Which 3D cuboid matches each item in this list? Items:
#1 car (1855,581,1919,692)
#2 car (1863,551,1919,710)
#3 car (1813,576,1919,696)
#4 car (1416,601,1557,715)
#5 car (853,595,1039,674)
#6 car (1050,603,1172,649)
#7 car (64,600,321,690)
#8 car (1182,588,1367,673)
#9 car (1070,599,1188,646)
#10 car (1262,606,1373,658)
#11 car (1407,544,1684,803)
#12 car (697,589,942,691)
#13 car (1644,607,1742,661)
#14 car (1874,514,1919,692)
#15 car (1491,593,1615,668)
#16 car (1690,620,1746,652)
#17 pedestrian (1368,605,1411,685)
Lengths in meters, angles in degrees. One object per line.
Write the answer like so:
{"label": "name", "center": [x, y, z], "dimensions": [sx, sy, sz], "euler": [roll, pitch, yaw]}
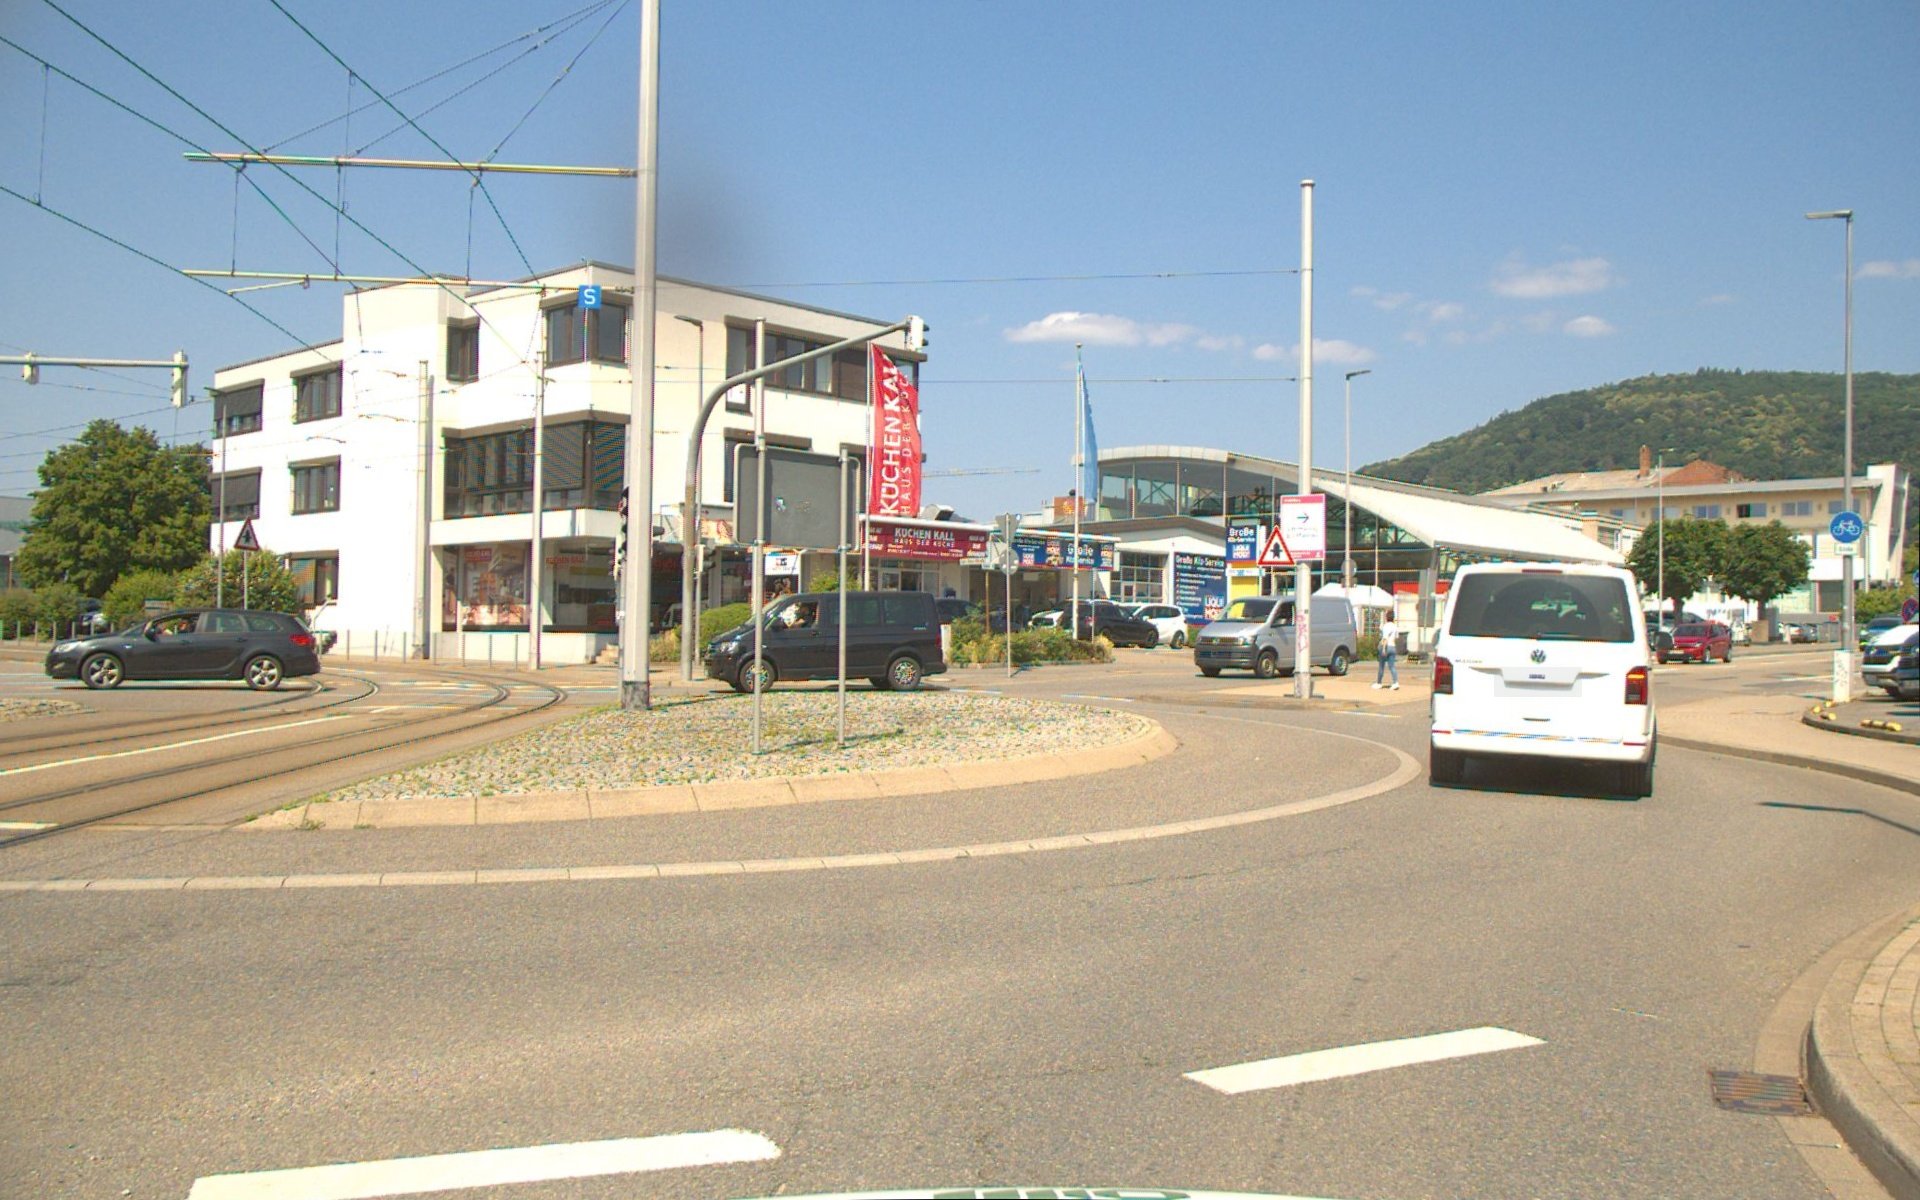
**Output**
{"label": "car", "center": [19.958, 0.658, 31.197], "dimensions": [5.023, 2.049, 1.932], "euler": [-1, -1, 12]}
{"label": "car", "center": [15.561, 0.421, 22.740], "dimensions": [5.101, 2.150, 2.098], "euler": [0, -1, 4]}
{"label": "car", "center": [17.885, 0.620, 28.749], "dimensions": [5.033, 2.035, 2.026], "euler": [0, -2, 8]}
{"label": "car", "center": [8.921, 0.930, 28.360], "dimensions": [1.951, 1.763, 4.567], "euler": [0, -1, 13]}
{"label": "car", "center": [-0.299, 0.915, 44.729], "dimensions": [1.933, 2.000, 5.243], "euler": [0, -1, 44]}
{"label": "car", "center": [5.068, 0.855, 55.159], "dimensions": [1.995, 1.452, 4.294], "euler": [0, -1, 40]}
{"label": "car", "center": [-14.127, 0.844, 30.667], "dimensions": [4.173, 1.583, 1.954], "euler": [1, -2, -24]}
{"label": "car", "center": [7.751, 0.749, 40.514], "dimensions": [4.785, 1.969, 1.905], "euler": [1, -1, -41]}
{"label": "car", "center": [6.196, 0.836, 60.124], "dimensions": [1.851, 1.616, 4.901], "euler": [-3, -3, 40]}
{"label": "car", "center": [11.870, 1.038, 54.811], "dimensions": [1.963, 1.646, 3.978], "euler": [-1, -1, 40]}
{"label": "car", "center": [5.742, 0.608, 16.189], "dimensions": [2.118, 2.049, 5.018], "euler": [2, 0, 20]}
{"label": "car", "center": [-2.826, 0.766, 33.116], "dimensions": [4.552, 1.943, 2.088], "euler": [0, 0, -18]}
{"label": "car", "center": [26.763, 1.224, 60.286], "dimensions": [1.991, 1.870, 4.842], "euler": [0, -1, 41]}
{"label": "car", "center": [17.939, 0.044, 25.806], "dimensions": [6.007, 2.765, 2.308], "euler": [0, -1, 5]}
{"label": "car", "center": [18.052, 0.886, 50.233], "dimensions": [1.990, 2.151, 4.908], "euler": [1, 0, 40]}
{"label": "car", "center": [39.794, 1.879, 86.936], "dimensions": [1.708, 1.613, 3.664], "euler": [0, -1, 8]}
{"label": "pedestrian", "center": [9.181, 0.948, 35.385], "dimensions": [0.743, 1.685, 0.672], "euler": [1, -1, 0]}
